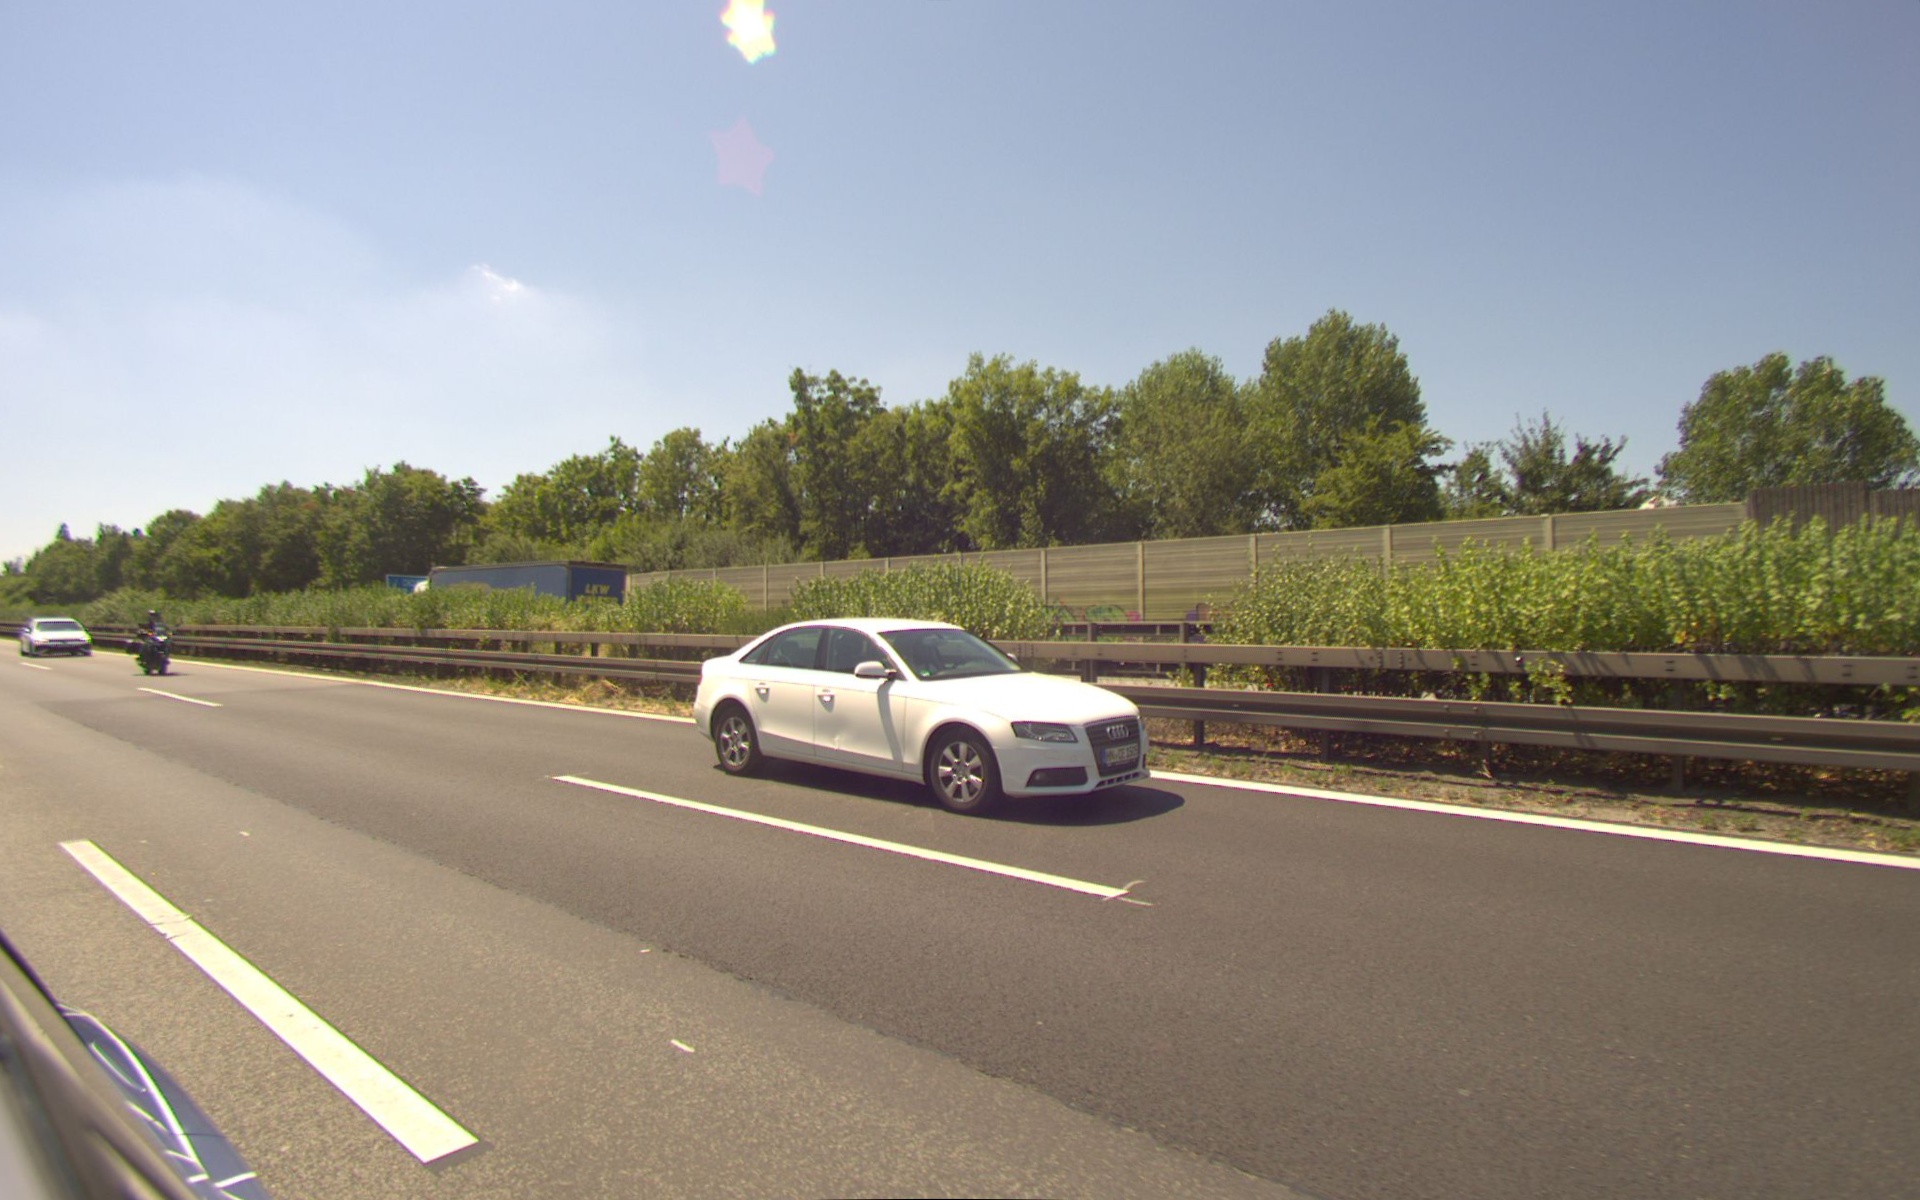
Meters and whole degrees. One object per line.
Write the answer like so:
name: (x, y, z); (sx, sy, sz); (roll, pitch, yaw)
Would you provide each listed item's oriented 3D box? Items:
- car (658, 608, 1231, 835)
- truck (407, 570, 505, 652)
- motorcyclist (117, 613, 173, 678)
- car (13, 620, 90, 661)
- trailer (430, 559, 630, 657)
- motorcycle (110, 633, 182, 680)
car: (-0.416, 0.830, 8.894); (5.123, 1.451, 1.857); (-1, -1, 41)
truck: (-24.995, 0.559, 50.116); (5.089, 3.882, 2.643); (-1, -1, 41)
motorcyclist: (-20.947, 1.146, 26.015); (1.298, 1.609, 0.884); (0, 1, 40)
car: (-34.694, 1.520, 38.604); (4.668, 1.451, 1.763); (-1, -1, 42)
trailer: (-19.656, 0.437, 45.390); (13.668, 3.882, 2.677); (-1, -1, 42)
motorcycle: (-20.953, 1.421, 26.032); (2.847, 1.097, 0.903); (0, 0, 40)
